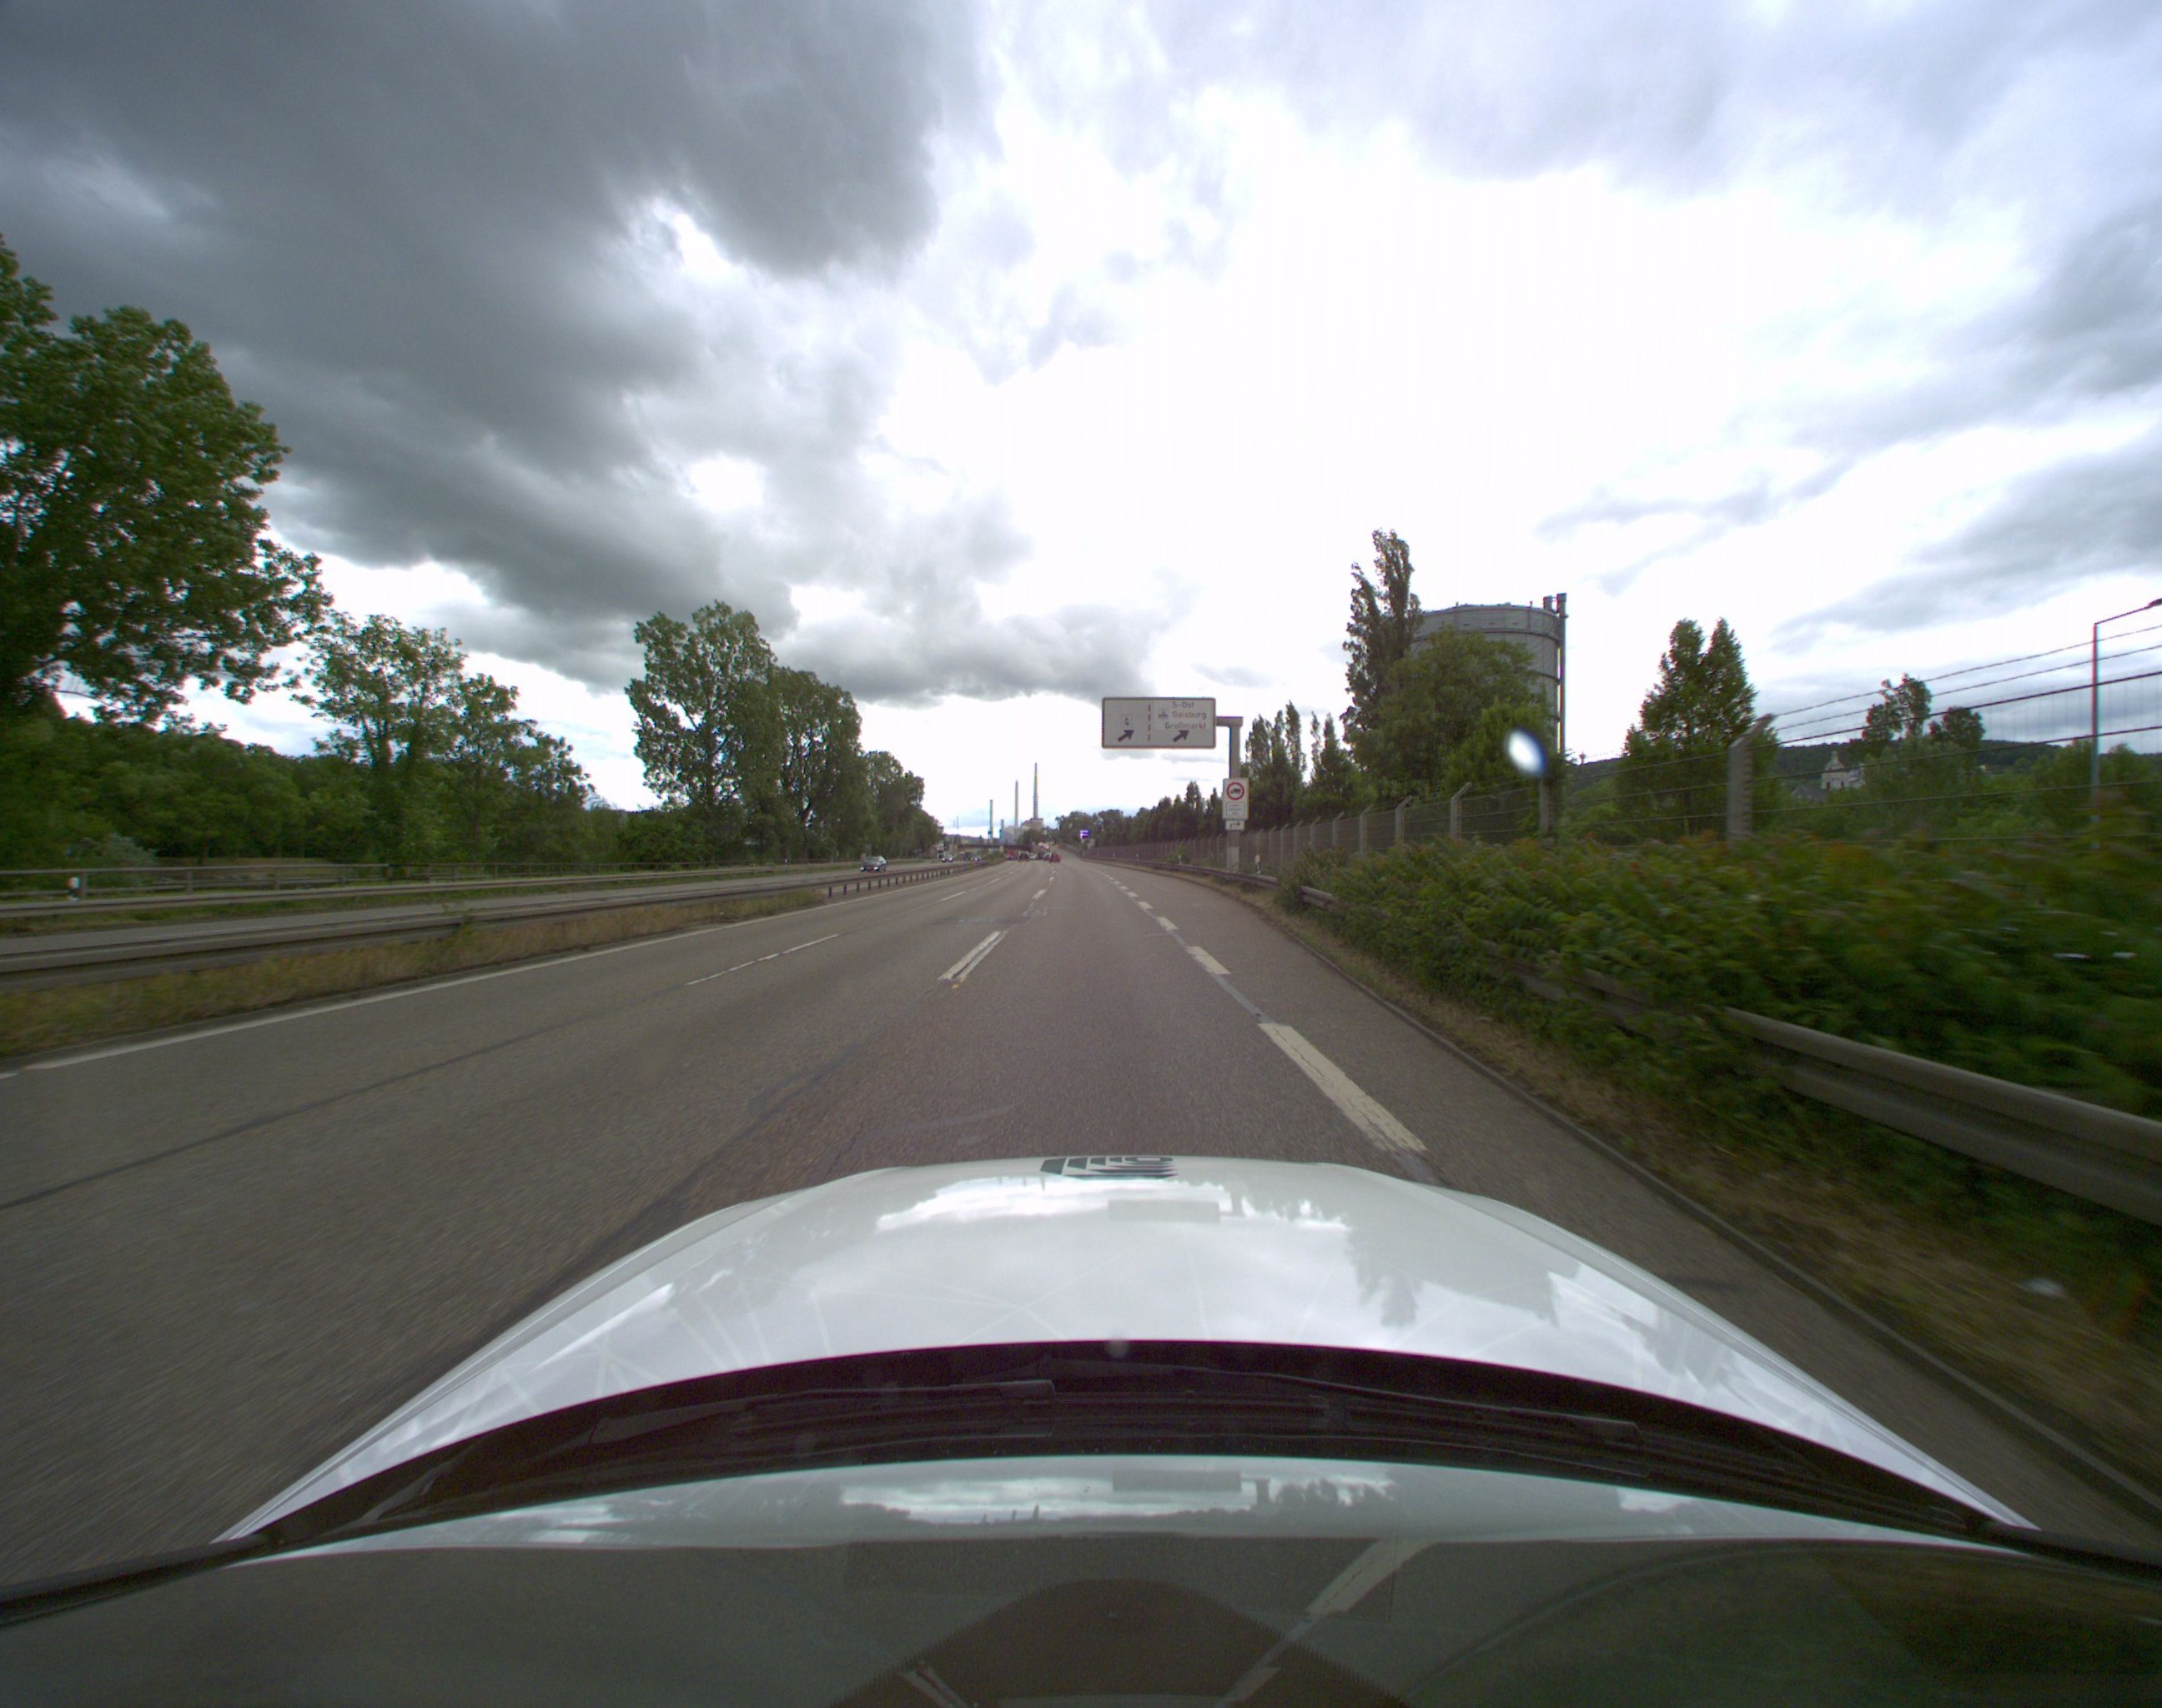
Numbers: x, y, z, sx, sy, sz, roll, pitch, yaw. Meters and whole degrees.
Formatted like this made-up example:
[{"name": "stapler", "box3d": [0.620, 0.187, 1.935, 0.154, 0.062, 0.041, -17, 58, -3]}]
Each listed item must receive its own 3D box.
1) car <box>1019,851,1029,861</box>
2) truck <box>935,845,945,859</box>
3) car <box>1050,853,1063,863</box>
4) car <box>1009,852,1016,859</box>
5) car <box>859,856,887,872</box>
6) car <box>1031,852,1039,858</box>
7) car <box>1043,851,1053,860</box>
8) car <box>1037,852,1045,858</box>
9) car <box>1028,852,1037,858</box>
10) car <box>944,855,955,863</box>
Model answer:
[{"name": "car", "box3d": [-10.343, 0.331, 148.344, 1.694, 1.742, 3.994, -1, 0, -4]}, {"name": "truck", "box3d": [-42.967, -0.704, 248.241, 2.888, 4.165, 14.612, 1, 0, -9]}, {"name": "car", "box3d": [-3.843, 0.596, 127.822, 1.970, 1.423, 4.895, -1, 0, -3]}, {"name": "car", "box3d": [-19.683, 0.440, 235.127, 1.697, 1.742, 4.380, -1, 0, -9]}, {"name": "car", "box3d": [-20.197, 0.943, 79.326, 1.694, 1.413, 4.632, -2, 0, -3]}, {"name": "car", "box3d": [-12.247, 0.245, 216.247, 1.697, 1.555, 4.386, -1, 0, -8]}, {"name": "car", "box3d": [-6.318, 0.288, 154.927, 1.695, 1.742, 4.385, -1, 0, -5]}, {"name": "car", "box3d": [-9.578, 0.217, 193.921, 1.695, 1.555, 4.389, -1, 0, -6]}, {"name": "car", "box3d": [-10.571, 0.209, 178.559, 1.695, 1.389, 4.389, -1, 0, -6]}, {"name": "car", "box3d": [-24.680, 0.947, 152.961, 1.695, 1.413, 4.629, -2, 0, -5]}]
